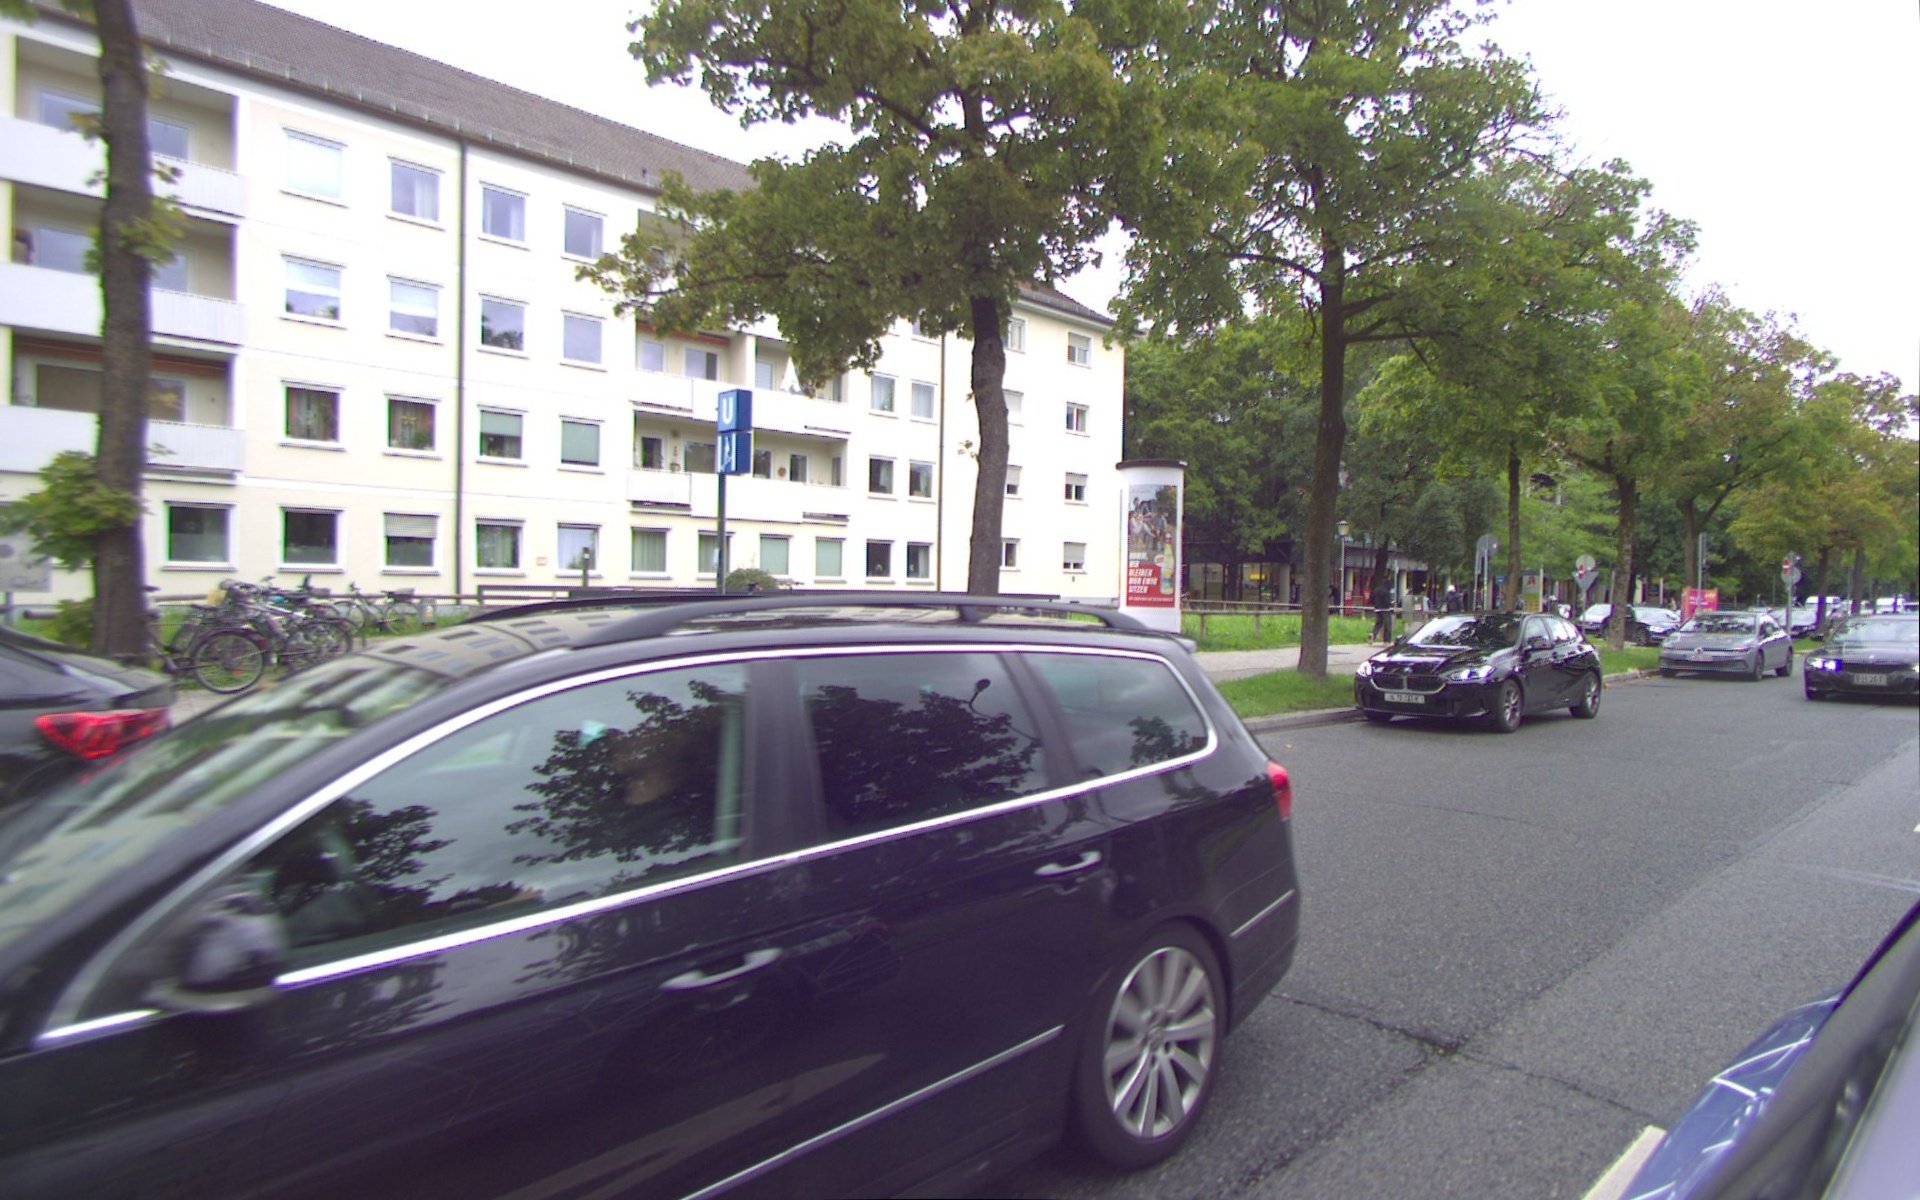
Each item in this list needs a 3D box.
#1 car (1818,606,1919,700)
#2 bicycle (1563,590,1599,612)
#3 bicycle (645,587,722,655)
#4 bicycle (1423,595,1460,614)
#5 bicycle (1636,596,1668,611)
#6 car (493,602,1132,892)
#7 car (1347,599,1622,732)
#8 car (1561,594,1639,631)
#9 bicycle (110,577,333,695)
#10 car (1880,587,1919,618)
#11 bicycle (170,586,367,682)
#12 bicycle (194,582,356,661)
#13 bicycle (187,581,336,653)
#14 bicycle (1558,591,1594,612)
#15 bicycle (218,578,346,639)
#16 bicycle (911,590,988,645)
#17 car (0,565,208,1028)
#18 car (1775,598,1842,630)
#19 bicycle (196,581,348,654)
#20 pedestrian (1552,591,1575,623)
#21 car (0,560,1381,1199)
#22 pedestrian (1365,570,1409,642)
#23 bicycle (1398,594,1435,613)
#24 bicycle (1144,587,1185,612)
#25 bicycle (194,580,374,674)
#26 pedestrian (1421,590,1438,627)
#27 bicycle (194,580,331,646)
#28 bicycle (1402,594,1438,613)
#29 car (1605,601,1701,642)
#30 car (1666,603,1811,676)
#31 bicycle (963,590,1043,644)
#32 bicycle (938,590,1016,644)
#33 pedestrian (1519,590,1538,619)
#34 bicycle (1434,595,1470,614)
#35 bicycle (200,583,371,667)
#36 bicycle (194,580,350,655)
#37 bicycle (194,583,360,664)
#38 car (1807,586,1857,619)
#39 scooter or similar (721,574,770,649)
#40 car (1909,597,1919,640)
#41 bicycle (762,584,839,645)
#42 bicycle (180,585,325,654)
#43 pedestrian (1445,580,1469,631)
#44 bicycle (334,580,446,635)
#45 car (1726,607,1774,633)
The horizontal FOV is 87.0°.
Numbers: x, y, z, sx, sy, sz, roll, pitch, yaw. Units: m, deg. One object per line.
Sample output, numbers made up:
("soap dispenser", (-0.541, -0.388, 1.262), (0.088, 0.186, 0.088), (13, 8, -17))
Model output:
("car", (16.149, 0.835, 17.234), (4.385, 1.431, 1.761), (1, -1, -42))
("bicycle", (49.455, 0.079, 80.619), (0.638, 1.643, 2.312), (1, 1, -40))
("bicycle", (-4.680, 0.328, 17.062), (0.425, 1.041, 1.880), (0, 2, -43))
("bicycle", (30.433, 0.260, 63.978), (0.447, 1.134, 2.079), (1, 1, -40))
("bicycle", (62.689, 0.342, 91.729), (0.637, 1.318, 2.313), (1, 1, -38))
("car", (-0.744, 0.726, 6.941), (4.173, 1.403, 1.637), (1, -1, -44))
("car", (6.980, 0.750, 13.304), (4.101, 1.484, 1.754), (1, -1, -40))
("car", (30.251, 0.577, 47.810), (4.121, 1.654, 1.827), (1, 1, -38))
("bicycle", (-7.769, 0.367, 10.718), (1.850, 1.147, 0.432), (1, 1, -40))
("car", (83.477, 0.238, 89.799), (5.900, 2.691, 1.976), (1, -1, -41))
("bicycle", (-8.014, 0.377, 11.792), (1.850, 1.041, 0.432), (1, 1, -40))
("bicycle", (-9.638, 0.295, 14.288), (1.850, 1.041, 0.432), (1, 1, -40))
("bicycle", (-10.757, 0.260, 15.635), (1.850, 1.041, 0.432), (1, 1, -40))
("bicycle", (48.132, 0.131, 79.125), (0.638, 1.551, 2.312), (1, 1, -40))
("bicycle", (-12.131, 0.158, 18.144), (1.850, 1.041, 0.432), (1, 1, -40))
("bicycle", (-0.241, 0.349, 21.043), (0.425, 1.041, 1.880), (0, 2, -43))
("car", (-4.942, 0.647, 3.043), (4.200, 1.552, 1.720), (1, -1, -41))
("car", (40.289, 0.639, 48.025), (4.609, 1.450, 1.731), (0, 0, -41))
("bicycle", (-10.378, 0.260, 15.308), (1.850, 1.041, 0.432), (1, 1, -40))
("pedestrian", (31.941, 0.370, 53.566), (0.738, 1.613, 0.661), (1, 2, -22))
("car", (-0.878, 0.687, 2.508), (4.362, 1.451, 1.734), (1, -1, -40))
("pedestrian", (10.859, 0.151, 25.733), (0.834, 1.771, 0.641), (1, 2, -40))
("bicycle", (28.415, 0.208, 63.011), (0.447, 1.134, 2.079), (1, 1, -40))
("bicycle", (8.602, -0.037, 42.620), (0.448, 0.983, 1.693), (1, 1, -43))
("bicycle", (-8.549, 0.324, 12.848), (1.850, 1.115, 0.432), (1, 1, -40))
("pedestrian", (20.057, 0.358, 43.240), (0.573, 1.594, 0.776), (0, 0, 19))
("bicycle", (-11.688, 0.213, 17.007), (1.850, 1.041, 0.432), (1, 1, -40))
("bicycle", (29.050, 0.202, 63.942), (0.447, 1.134, 2.079), (1, 1, -40))
("car", (25.054, 0.732, 36.538), (4.273, 1.397, 1.726), (0, 0, -39))
("car", (17.264, 0.817, 22.392), (4.041, 1.484, 1.685), (1, -1, -40))
("bicycle", (0.910, 0.347, 21.845), (1.877, 1.041, 0.426), (3, 2, 43))
("bicycle", (0.346, 0.347, 21.664), (1.878, 1.041, 0.426), (3, 2, 45))
("pedestrian", (32.118, 0.251, 57.197), (0.620, 1.561, 0.661), (2, 2, 1))
("bicycle", (31.903, 0.293, 65.629), (0.447, 1.134, 2.079), (1, 1, -40))
("bicycle", (-8.966, 0.318, 13.501), (1.850, 1.041, 0.432), (1, 1, -40))
("bicycle", (-10.099, 0.251, 14.904), (1.850, 1.041, 0.432), (1, 1, -40))
("bicycle", (-9.347, 0.312, 13.901), (1.850, 1.041, 0.432), (1, 1, -40))
("car", (71.805, 0.227, 83.284), (5.754, 2.560, 2.267), (1, 1, -40))
("scooter or similar", (-3.633, 0.165, 17.225), (0.352, 1.215, 1.388), (2, 1, 7))
("car", (45.756, 0.840, 47.051), (4.846, 1.952, 1.884), (1, -1, -41))
("bicycle", (-2.964, 0.244, 18.706), (0.425, 1.041, 1.880), (0, 2, -43))
("bicycle", (-11.262, 0.308, 16.153), (1.850, 1.041, 0.432), (1, 1, -40))
("pedestrian", (17.473, 0.184, 35.575), (0.632, 1.752, 0.598), (0, 0, 15))
("bicycle", (-11.187, 0.150, 19.896), (1.850, 1.041, 0.432), (1, 1, -40))
("car", (50.719, 1.284, 64.935), (4.526, 1.550, 1.823), (2, 1, -45))
